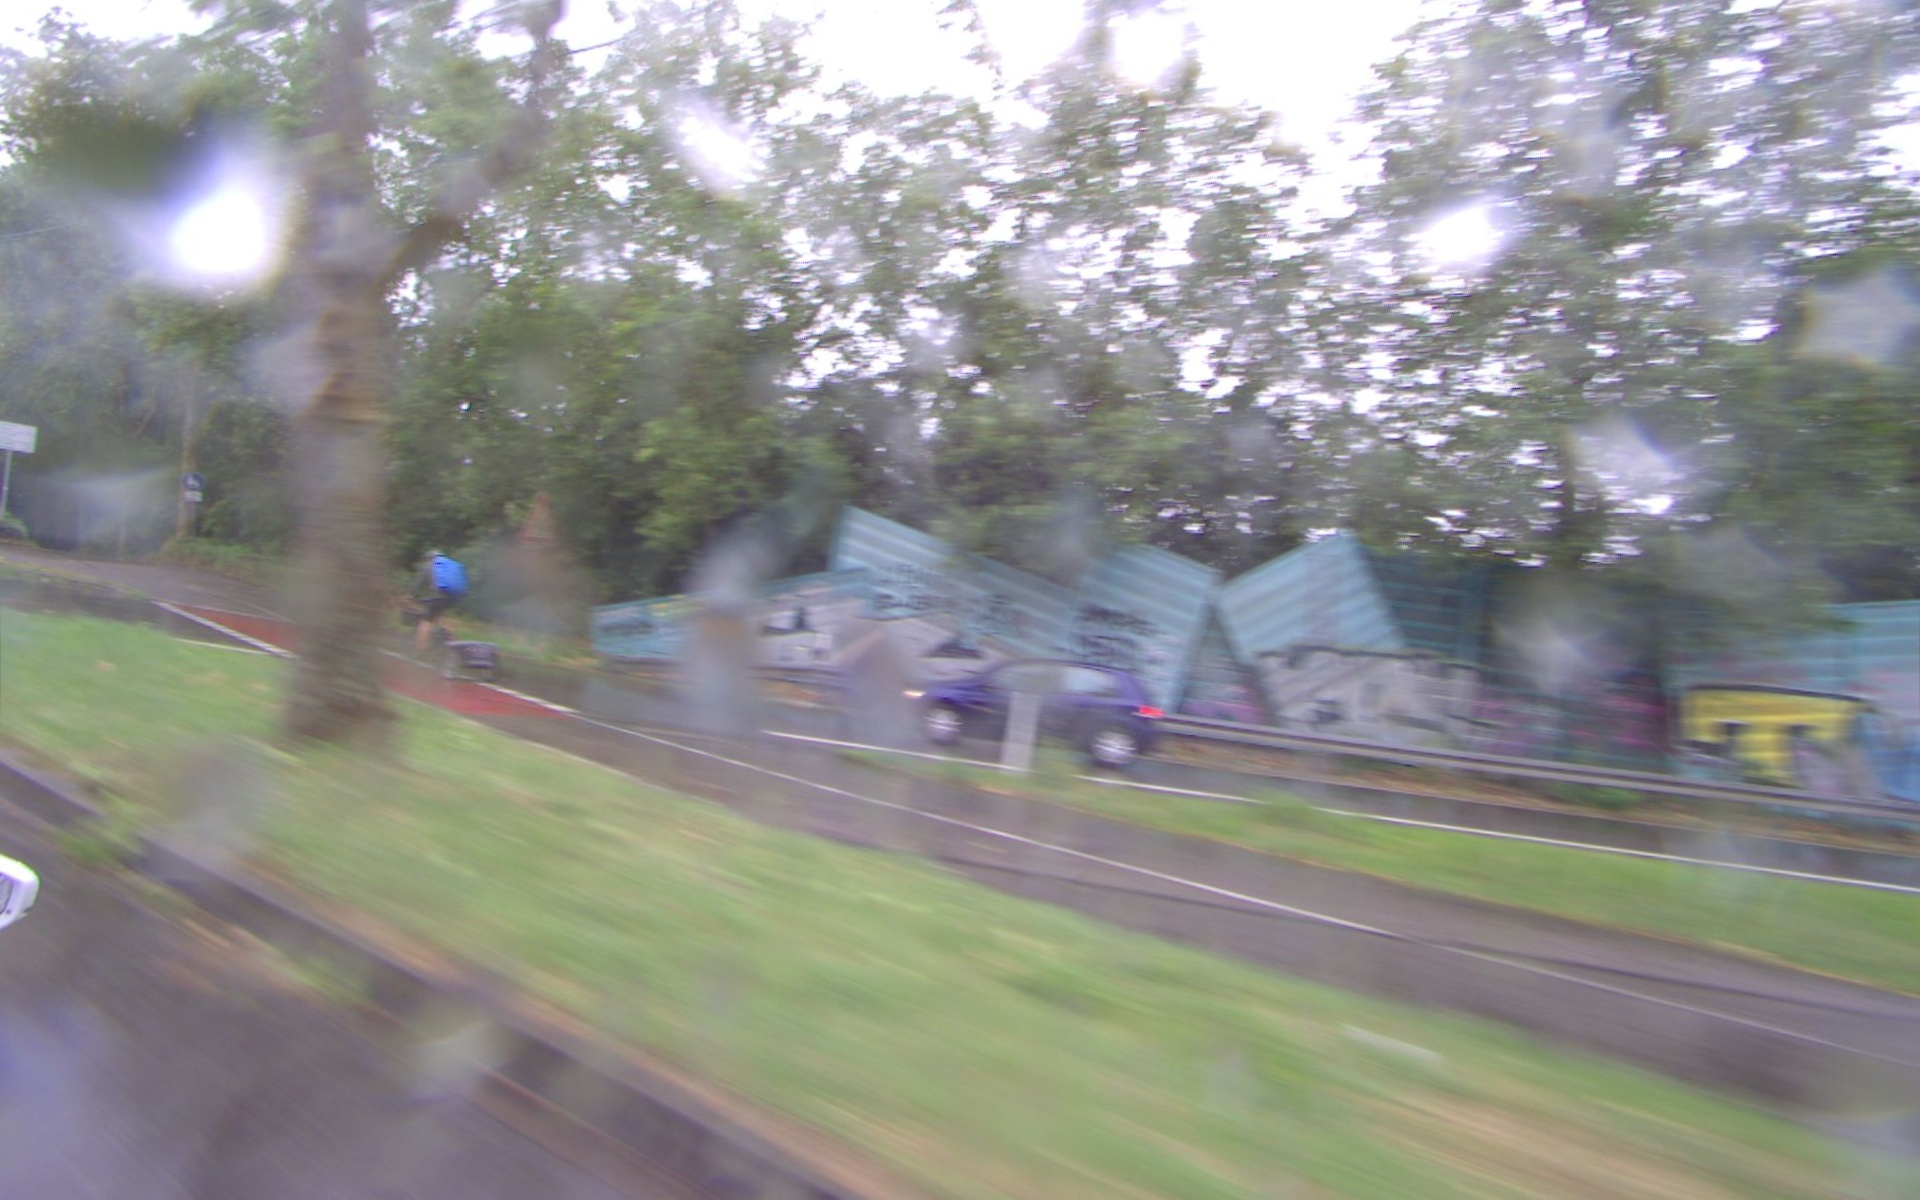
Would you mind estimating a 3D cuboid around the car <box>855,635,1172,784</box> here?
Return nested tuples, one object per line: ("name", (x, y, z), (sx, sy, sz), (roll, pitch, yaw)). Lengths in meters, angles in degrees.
("car", (0.817, 1.601, 15.456), (4.431, 1.555, 1.870), (7, 0, 4))
